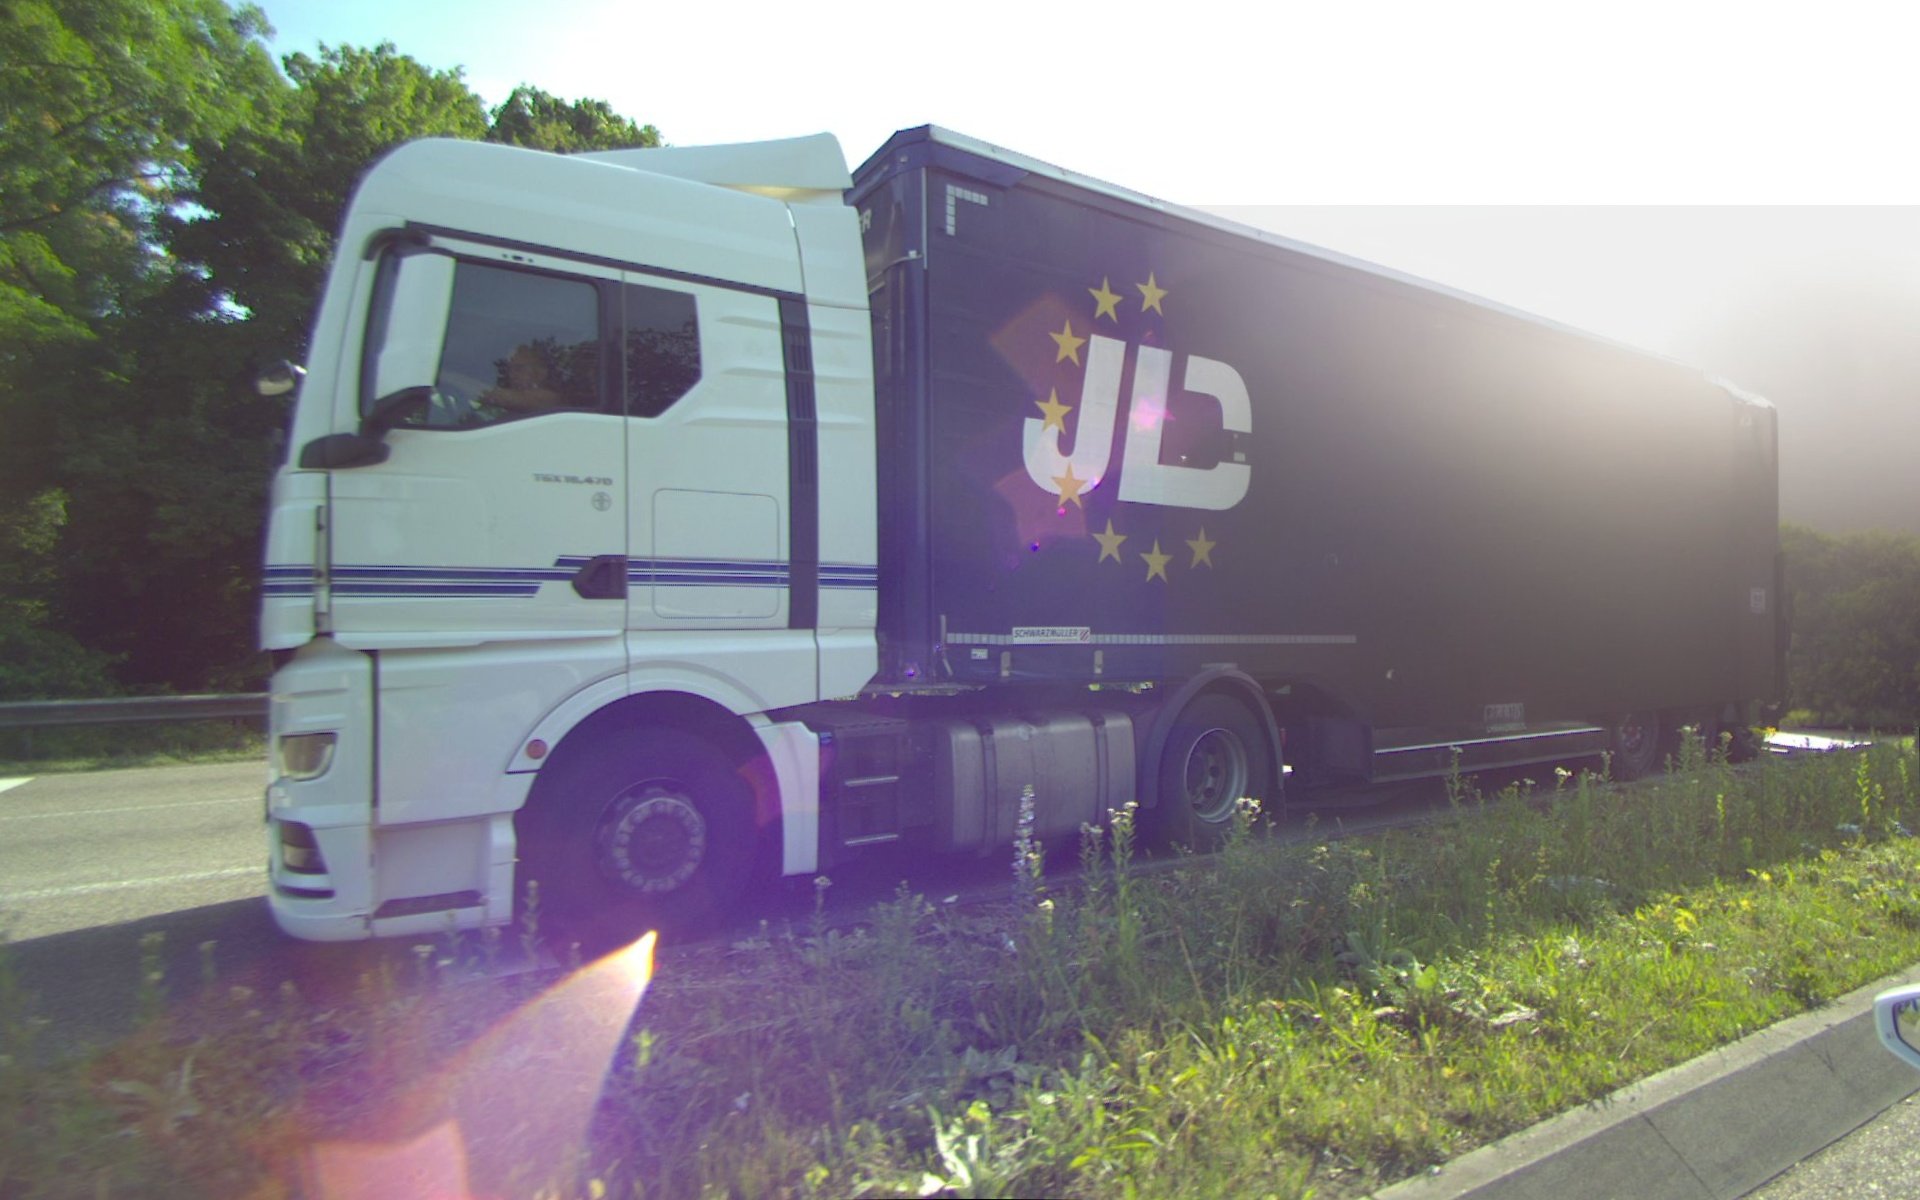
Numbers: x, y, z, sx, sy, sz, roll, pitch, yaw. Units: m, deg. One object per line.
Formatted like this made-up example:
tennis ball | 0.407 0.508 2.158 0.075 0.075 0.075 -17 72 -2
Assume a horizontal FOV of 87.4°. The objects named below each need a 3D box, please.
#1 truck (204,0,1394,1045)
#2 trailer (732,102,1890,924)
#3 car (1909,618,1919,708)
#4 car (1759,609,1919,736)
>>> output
truck | -0.537 -0.502 6.440 6.650 4.051 2.873 1 1 -33
trailer | 4.923 -0.376 9.994 13.861 4.049 2.974 1 1 -33
car | 20.105 1.171 19.273 4.696 1.653 1.690 1 -2 -33
car | 13.891 0.992 15.078 4.323 1.653 1.690 1 -2 -33
